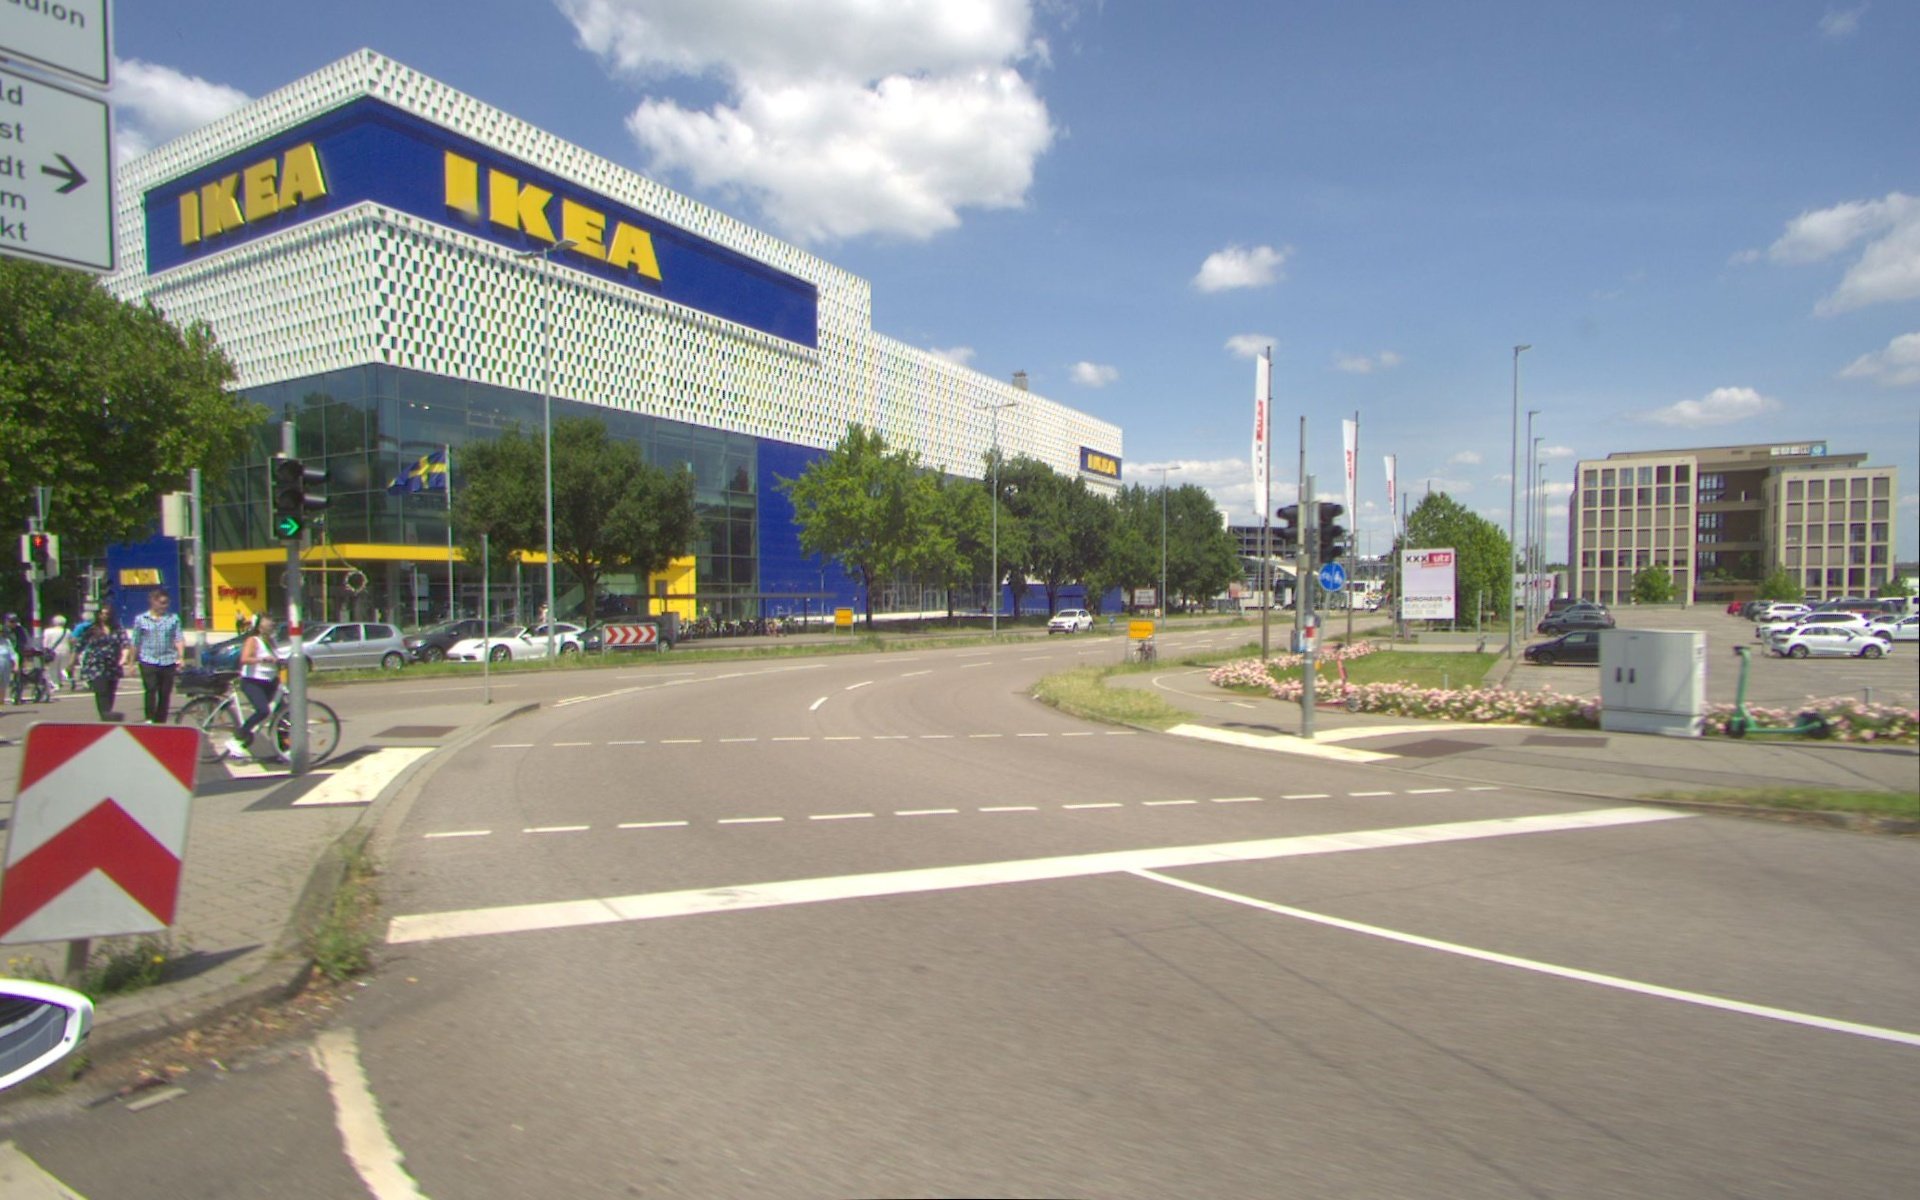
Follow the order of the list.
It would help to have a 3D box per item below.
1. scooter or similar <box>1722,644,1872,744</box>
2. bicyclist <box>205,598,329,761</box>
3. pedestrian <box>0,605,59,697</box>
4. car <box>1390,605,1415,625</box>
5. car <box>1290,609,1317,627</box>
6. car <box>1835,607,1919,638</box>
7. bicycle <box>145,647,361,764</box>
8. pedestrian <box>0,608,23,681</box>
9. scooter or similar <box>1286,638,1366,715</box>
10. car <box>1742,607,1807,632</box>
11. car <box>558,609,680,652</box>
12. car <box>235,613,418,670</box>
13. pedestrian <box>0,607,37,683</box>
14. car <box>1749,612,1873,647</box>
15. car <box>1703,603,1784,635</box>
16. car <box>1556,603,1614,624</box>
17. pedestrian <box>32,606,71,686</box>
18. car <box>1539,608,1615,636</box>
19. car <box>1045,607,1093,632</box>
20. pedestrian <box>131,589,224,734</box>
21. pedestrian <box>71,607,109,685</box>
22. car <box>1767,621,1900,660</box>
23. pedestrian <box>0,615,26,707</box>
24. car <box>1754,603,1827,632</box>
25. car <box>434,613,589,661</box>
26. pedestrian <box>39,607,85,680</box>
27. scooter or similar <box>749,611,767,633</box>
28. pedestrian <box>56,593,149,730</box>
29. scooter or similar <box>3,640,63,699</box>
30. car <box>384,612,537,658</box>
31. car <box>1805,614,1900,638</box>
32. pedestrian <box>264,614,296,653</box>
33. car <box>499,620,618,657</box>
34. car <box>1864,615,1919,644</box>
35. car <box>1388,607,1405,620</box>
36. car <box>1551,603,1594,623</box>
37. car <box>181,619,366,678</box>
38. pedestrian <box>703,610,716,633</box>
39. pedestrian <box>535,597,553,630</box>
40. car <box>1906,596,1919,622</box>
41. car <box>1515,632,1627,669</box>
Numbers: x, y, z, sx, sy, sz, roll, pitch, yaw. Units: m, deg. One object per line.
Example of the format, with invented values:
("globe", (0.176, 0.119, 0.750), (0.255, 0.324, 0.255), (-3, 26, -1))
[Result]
("scooter or similar", (10.140, 1.134, 12.173), (0.473, 1.140, 1.273), (0, -4, -30))
("bicyclist", (-7.624, 0.845, 11.053), (0.783, 1.723, 0.816), (1, 1, 3))
("pedestrian", (-17.697, 0.946, 18.976), (0.934, 1.694, 0.779), (0, 0, 37))
("car", (47.339, 1.589, 107.042), (1.971, 2.040, 3.980), (0, 0, 31))
("car", (32.171, 1.656, 93.677), (1.735, 1.633, 3.531), (0, -1, 31))
("car", (53.227, 1.295, 57.582), (4.113, 1.725, 1.843), (0, 0, 34))
("bicycle", (-7.779, 1.138, 11.070), (1.842, 1.177, 0.831), (1, 1, 4))
("pedestrian", (-22.357, 1.021, 23.309), (0.789, 1.681, 0.844), (0, 0, -43))
("scooter or similar", (6.510, 1.341, 17.853), (0.475, 1.307, 1.268), (0, 0, -41))
("car", (67.525, 1.604, 83.113), (3.943, 2.040, 1.989), (0, 0, 33))
("car", (-13.365, 1.171, 39.474), (1.837, 1.605, 4.392), (0, -1, 32))
("car", (-16.971, 1.064, 26.981), (1.778, 1.415, 3.816), (0, -1, 32))
("pedestrian", (-21.441, 1.003, 22.672), (0.789, 1.681, 0.844), (0, 0, -43))
("car", (44.541, 1.513, 52.561), (4.804, 1.724, 1.843), (0, -1, 35))
("car", (50.524, 1.227, 64.667), (3.943, 2.040, 1.990), (0, -1, 32))
("car", (51.617, 1.152, 82.730), (3.947, 1.706, 1.988), (0, -1, 36))
("pedestrian", (-19.299, 0.972, 21.275), (0.601, 1.658, 0.856), (0, -1, -42))
("car", (39.602, 1.408, 64.365), (4.061, 1.706, 1.991), (0, -1, 29))
("car", (7.509, 1.283, 68.781), (1.968, 1.661, 4.066), (0, 0, 27))
("pedestrian", (-10.615, 0.811, 13.593), (0.787, 1.889, 0.801), (0, 0, 35))
("pedestrian", (-18.916, 0.984, 21.766), (0.598, 1.658, 0.856), (0, -1, -42))
("car", (37.397, 1.717, 42.993), (3.937, 1.566, 1.848), (0, -1, 27))
("pedestrian", (-15.922, 1.003, 16.526), (0.795, 1.495, 0.587), (0, -1, 35))
("car", (61.096, 1.283, 73.753), (3.943, 2.040, 1.538), (0, 0, 32))
("car", (-14.186, 1.129, 31.863), (1.779, 1.416, 4.207), (0, -1, 35))
("pedestrian", (-21.254, 1.019, 23.702), (0.789, 1.681, 0.844), (0, 0, -43))
("scooter or similar", (-12.599, 1.358, 62.398), (1.119, 1.337, 0.400), (0, 1, 33))
("pedestrian", (-11.666, 0.813, 13.627), (0.787, 1.783, 0.801), (0, 0, 35))
("scooter or similar", (-17.251, 1.281, 18.628), (0.852, 1.044, 0.687), (0, 0, 38))
("car", (-16.844, 1.153, 33.981), (1.825, 1.462, 4.396), (0, -1, 29))
("car", (55.794, 1.622, 62.684), (4.197, 1.431, 1.850), (0, -1, 34))
("pedestrian", (-29.059, 1.422, 42.787), (0.623, 1.607, 0.918), (0, 1, 25))
("car", (-16.572, 1.567, 41.540), (1.837, 1.416, 4.391), (0, -1, 32))
("car", (49.807, 1.530, 52.056), (3.946, 1.457, 1.843), (0, -1, 35))
("car", (59.524, 1.839, 136.480), (1.735, 1.633, 3.531), (0, -1, 31))
("car", (65.976, 1.391, 107.860), (3.943, 2.040, 1.989), (0, 0, 33))
("car", (-19.708, 1.328, 28.917), (1.969, 1.576, 3.984), (0, -1, 28))
("pedestrian", (-17.659, 1.533, 70.657), (0.570, 1.607, 0.766), (0, 1, 25))
("pedestrian", (-25.933, 0.824, 62.441), (0.724, 2.040, 0.793), (1, 1, 42))
("car", (76.901, 0.736, 78.339), (3.946, 2.040, 1.988), (-1, -1, 35))
("car", (25.192, 2.055, 41.376), (3.886, 1.394, 1.845), (0, -1, 32))
